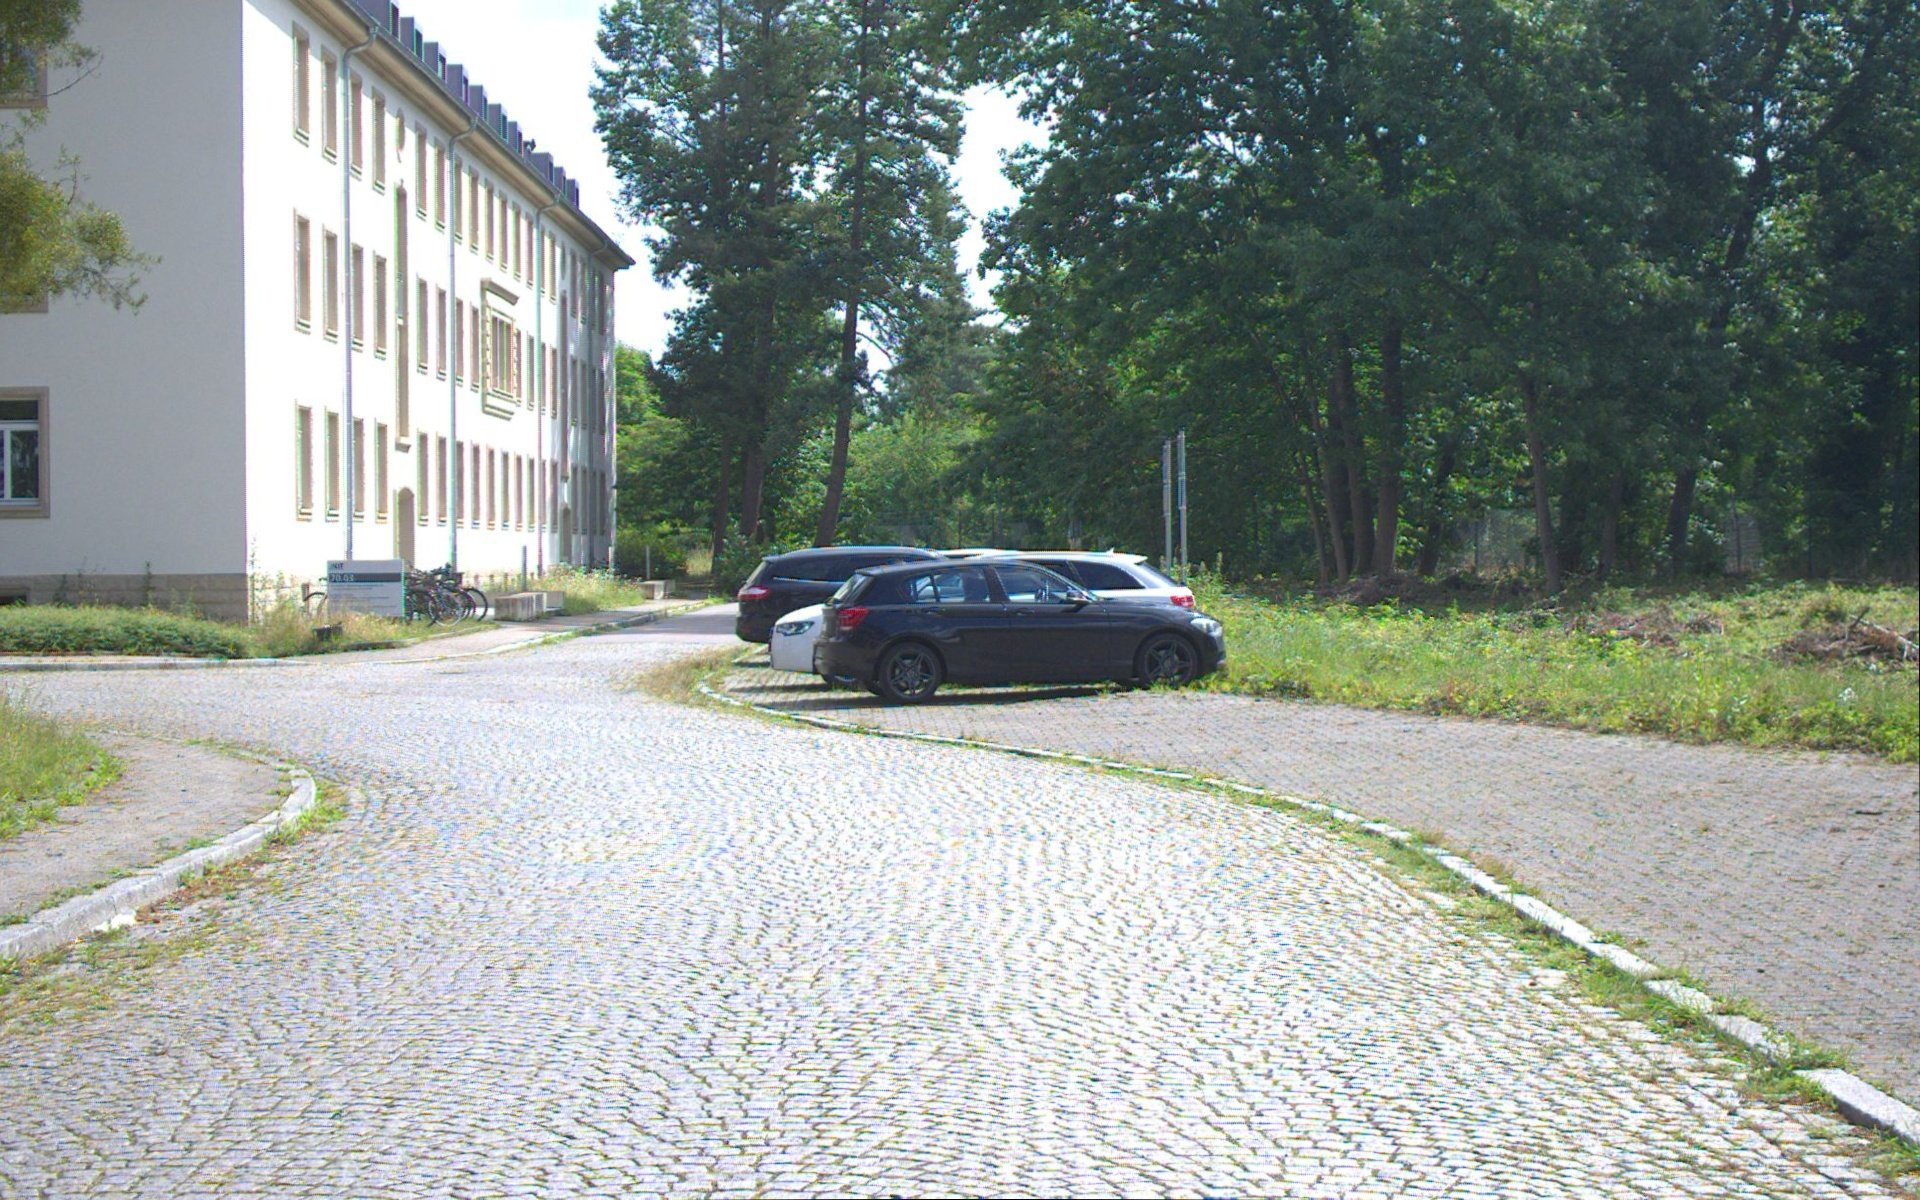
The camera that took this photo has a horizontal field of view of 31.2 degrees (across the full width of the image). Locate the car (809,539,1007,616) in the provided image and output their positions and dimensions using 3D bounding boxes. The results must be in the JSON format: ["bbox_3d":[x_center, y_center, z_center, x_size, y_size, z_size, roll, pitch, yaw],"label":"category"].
[{"bbox_3d":[-1.099,-0.482,74.520,4.187,1.538,1.820,-2,0,1],"label":"car"}]

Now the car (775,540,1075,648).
[{"bbox_3d":[-0.538,-0.093,51.708,4.398,1.479,1.766,-2,0,-2],"label":"car"}]

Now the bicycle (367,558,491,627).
[{"bbox_3d":[-9.943,-0.148,64.416,2.222,1.256,0.623,-1,1,2],"label":"bicycle"}]

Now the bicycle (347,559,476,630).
[{"bbox_3d":[-9.969,-0.106,62.468,2.222,1.256,0.623,-1,1,6],"label":"bicycle"}]

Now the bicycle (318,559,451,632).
[{"bbox_3d":[-10.160,-0.080,60.727,2.222,1.256,0.623,-1,1,6],"label":"bicycle"}]

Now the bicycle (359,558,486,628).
[{"bbox_3d":[-9.914,-0.135,63.408,2.222,1.256,0.623,-1,1,2],"label":"bicycle"}]

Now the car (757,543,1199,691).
[{"bbox_3d":[0.172,0.171,39.046,4.861,1.467,1.875,-2,2,-2],"label":"car"}]

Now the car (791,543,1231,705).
[{"bbox_3d":[0.496,0.222,35.871,4.323,1.495,1.830,-2,2,-8],"label":"car"}]

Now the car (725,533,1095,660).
[{"bbox_3d":[-0.687,-0.055,46.393,4.852,1.547,1.880,-2,0,-2],"label":"car"}]
